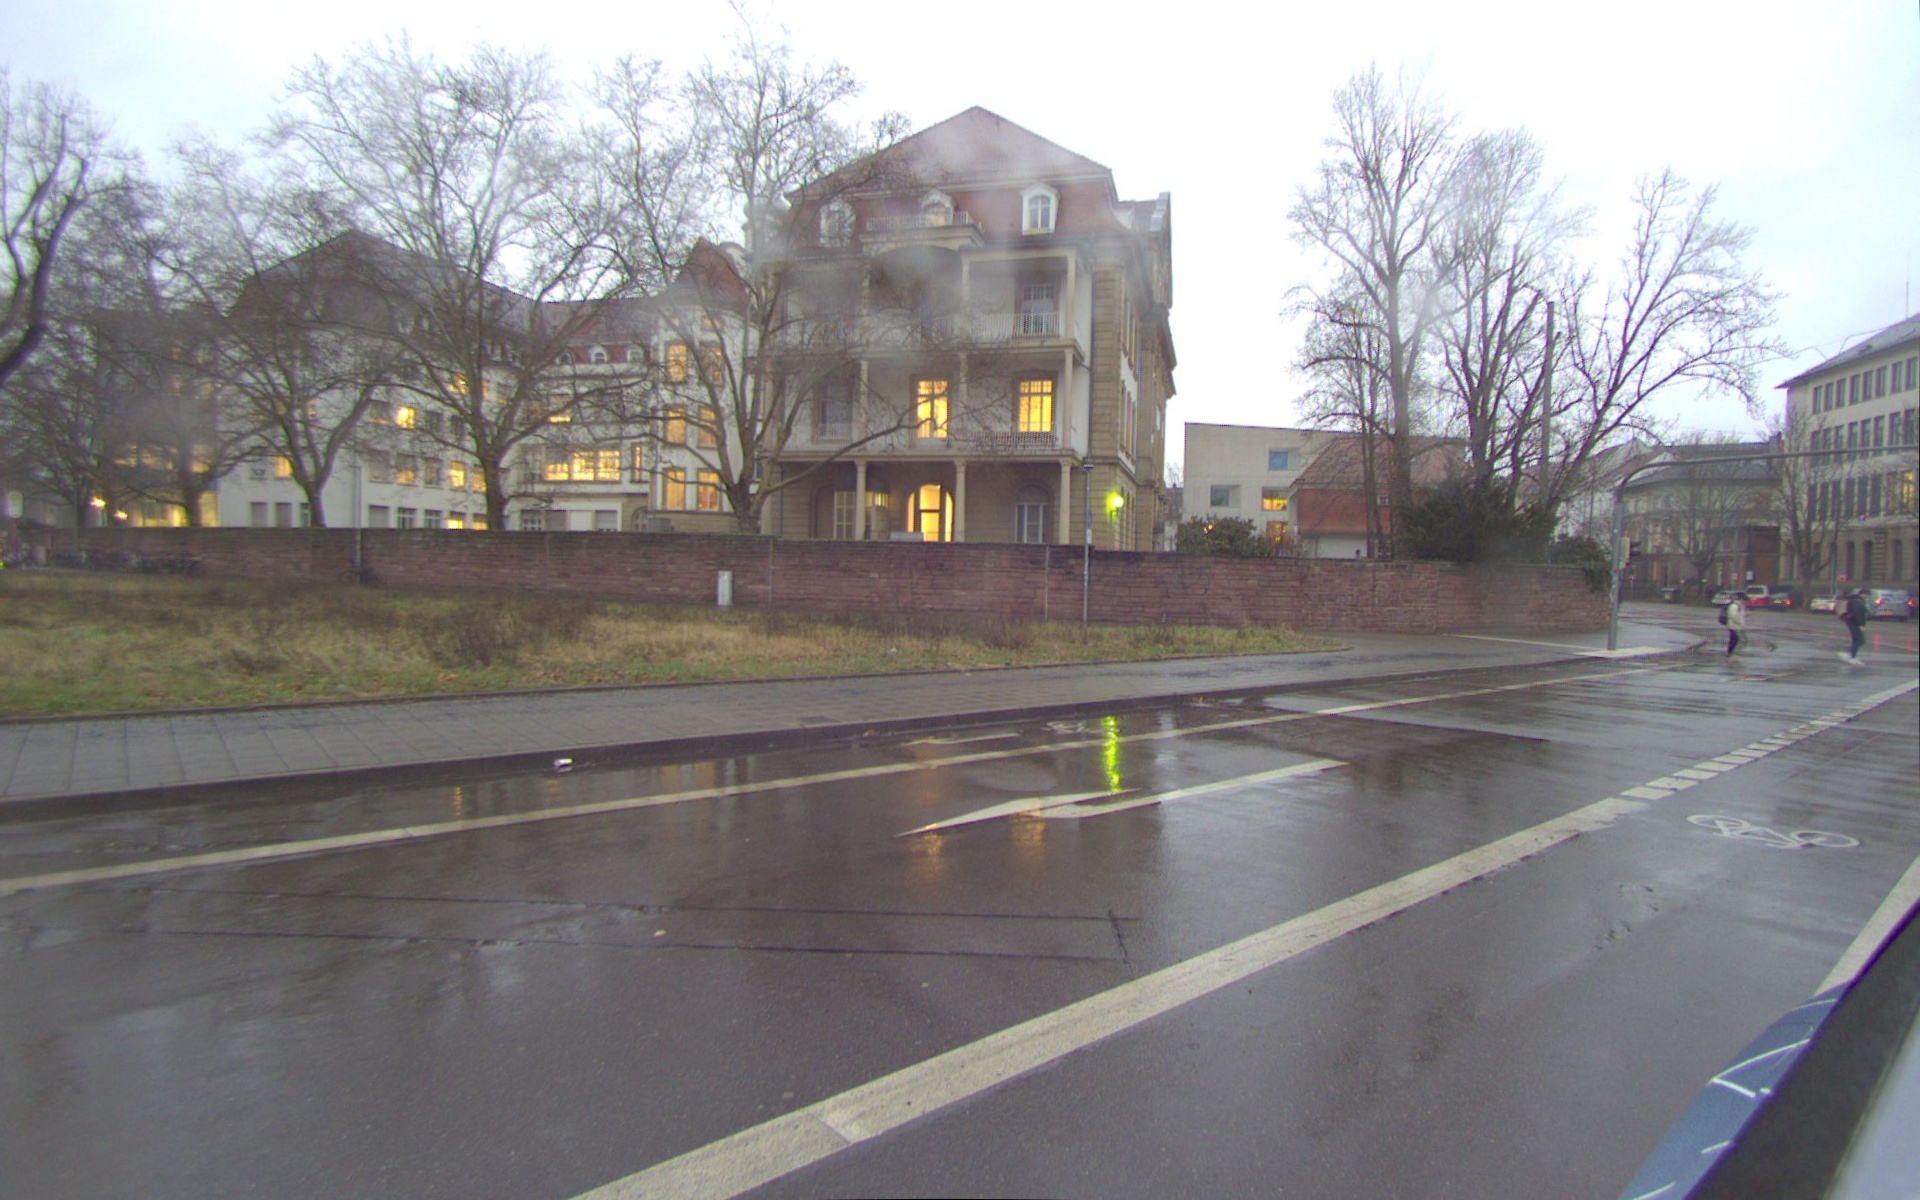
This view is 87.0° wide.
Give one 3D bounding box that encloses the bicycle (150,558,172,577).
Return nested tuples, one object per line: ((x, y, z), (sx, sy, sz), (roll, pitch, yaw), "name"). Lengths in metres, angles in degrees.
((-37.035, -1.498, 46.893), (1.480, 0.849, 0.346), (0, 0, 32), "bicycle")

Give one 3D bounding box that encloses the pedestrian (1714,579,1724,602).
((70.141, -0.877, 93.526), (0.468, 2.038, 0.545), (2, 2, 15), "pedestrian")

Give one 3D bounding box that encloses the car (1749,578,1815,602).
((64.979, -0.793, 80.026), (3.916, 1.924, 2.052), (0, 0, -13), "car")

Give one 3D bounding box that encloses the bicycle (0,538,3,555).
((-71.078, -3.951, 74.542), (1.670, 1.182, 0.603), (0, 0, 37), "bicycle")

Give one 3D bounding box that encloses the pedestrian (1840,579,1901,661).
((22.284, 0.456, 24.781), (0.996, 1.924, 0.664), (4, 3, 41), "pedestrian")

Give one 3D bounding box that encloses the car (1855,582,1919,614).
((57.637, -0.139, 62.703), (1.860, 1.868, 3.974), (0, 0, 20), "car")

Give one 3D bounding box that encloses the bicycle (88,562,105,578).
((-44.182, -1.531, 51.776), (1.522, 0.796, 0.389), (0, 0, 38), "bicycle")

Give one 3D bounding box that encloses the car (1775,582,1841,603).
((64.697, -0.587, 77.228), (3.916, 1.570, 1.805), (0, 0, -13), "car")

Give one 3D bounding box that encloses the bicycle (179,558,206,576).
((-34.214, -1.470, 45.118), (1.399, 0.796, 0.355), (0, 0, 26), "bicycle")

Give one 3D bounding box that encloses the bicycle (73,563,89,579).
((-46.676, -1.537, 53.728), (1.522, 0.796, 0.389), (0, 0, 38), "bicycle")

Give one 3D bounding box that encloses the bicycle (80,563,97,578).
((-45.445, -1.534, 52.749), (1.522, 0.796, 0.389), (0, 0, 38), "bicycle")

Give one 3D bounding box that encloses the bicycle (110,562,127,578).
((-41.478, -1.478, 49.884), (1.599, 0.796, 0.388), (0, 0, 41), "bicycle")

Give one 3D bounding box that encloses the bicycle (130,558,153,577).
((-38.630, -1.508, 47.775), (1.519, 0.869, 0.389), (0, 0, 33), "bicycle")

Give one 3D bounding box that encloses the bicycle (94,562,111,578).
((-43.135, -1.497, 50.904), (1.522, 0.796, 0.389), (0, 0, 38), "bicycle")

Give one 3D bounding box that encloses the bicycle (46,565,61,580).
((-51.612, -1.549, 57.601), (1.522, 0.796, 0.389), (0, 0, 38), "bicycle")

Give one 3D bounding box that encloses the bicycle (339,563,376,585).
((-23.389, -0.989, 39.278), (1.366, 0.835, 0.392), (0, 0, 14), "bicycle")

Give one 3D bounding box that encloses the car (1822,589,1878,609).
((63.600, -0.083, 72.303), (3.568, 1.322, 1.712), (-1, 0, -25), "car")

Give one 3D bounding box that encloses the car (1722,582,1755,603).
((66.479, -0.646, 86.390), (1.992, 1.690, 3.940), (0, 1, 42), "car")

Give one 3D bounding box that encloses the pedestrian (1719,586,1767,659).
((19.551, 0.554, 25.268), (0.663, 1.744, 0.797), (0, 3, -44), "pedestrian")

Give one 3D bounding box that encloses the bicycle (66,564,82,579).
((-47.899, -1.540, 54.682), (1.522, 0.796, 0.389), (0, 0, 38), "bicycle")

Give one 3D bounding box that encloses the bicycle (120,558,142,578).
((-39.912, -1.541, 48.729), (1.519, 0.928, 0.389), (0, 0, 33), "bicycle")

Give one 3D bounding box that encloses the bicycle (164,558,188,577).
((-35.554, -1.470, 45.867), (1.519, 0.796, 0.389), (0, 0, 33), "bicycle")

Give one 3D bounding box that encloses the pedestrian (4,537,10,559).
((-80.904, -4.404, 85.930), (0.312, 1.814, 0.462), (1, 2, -39), "pedestrian")
